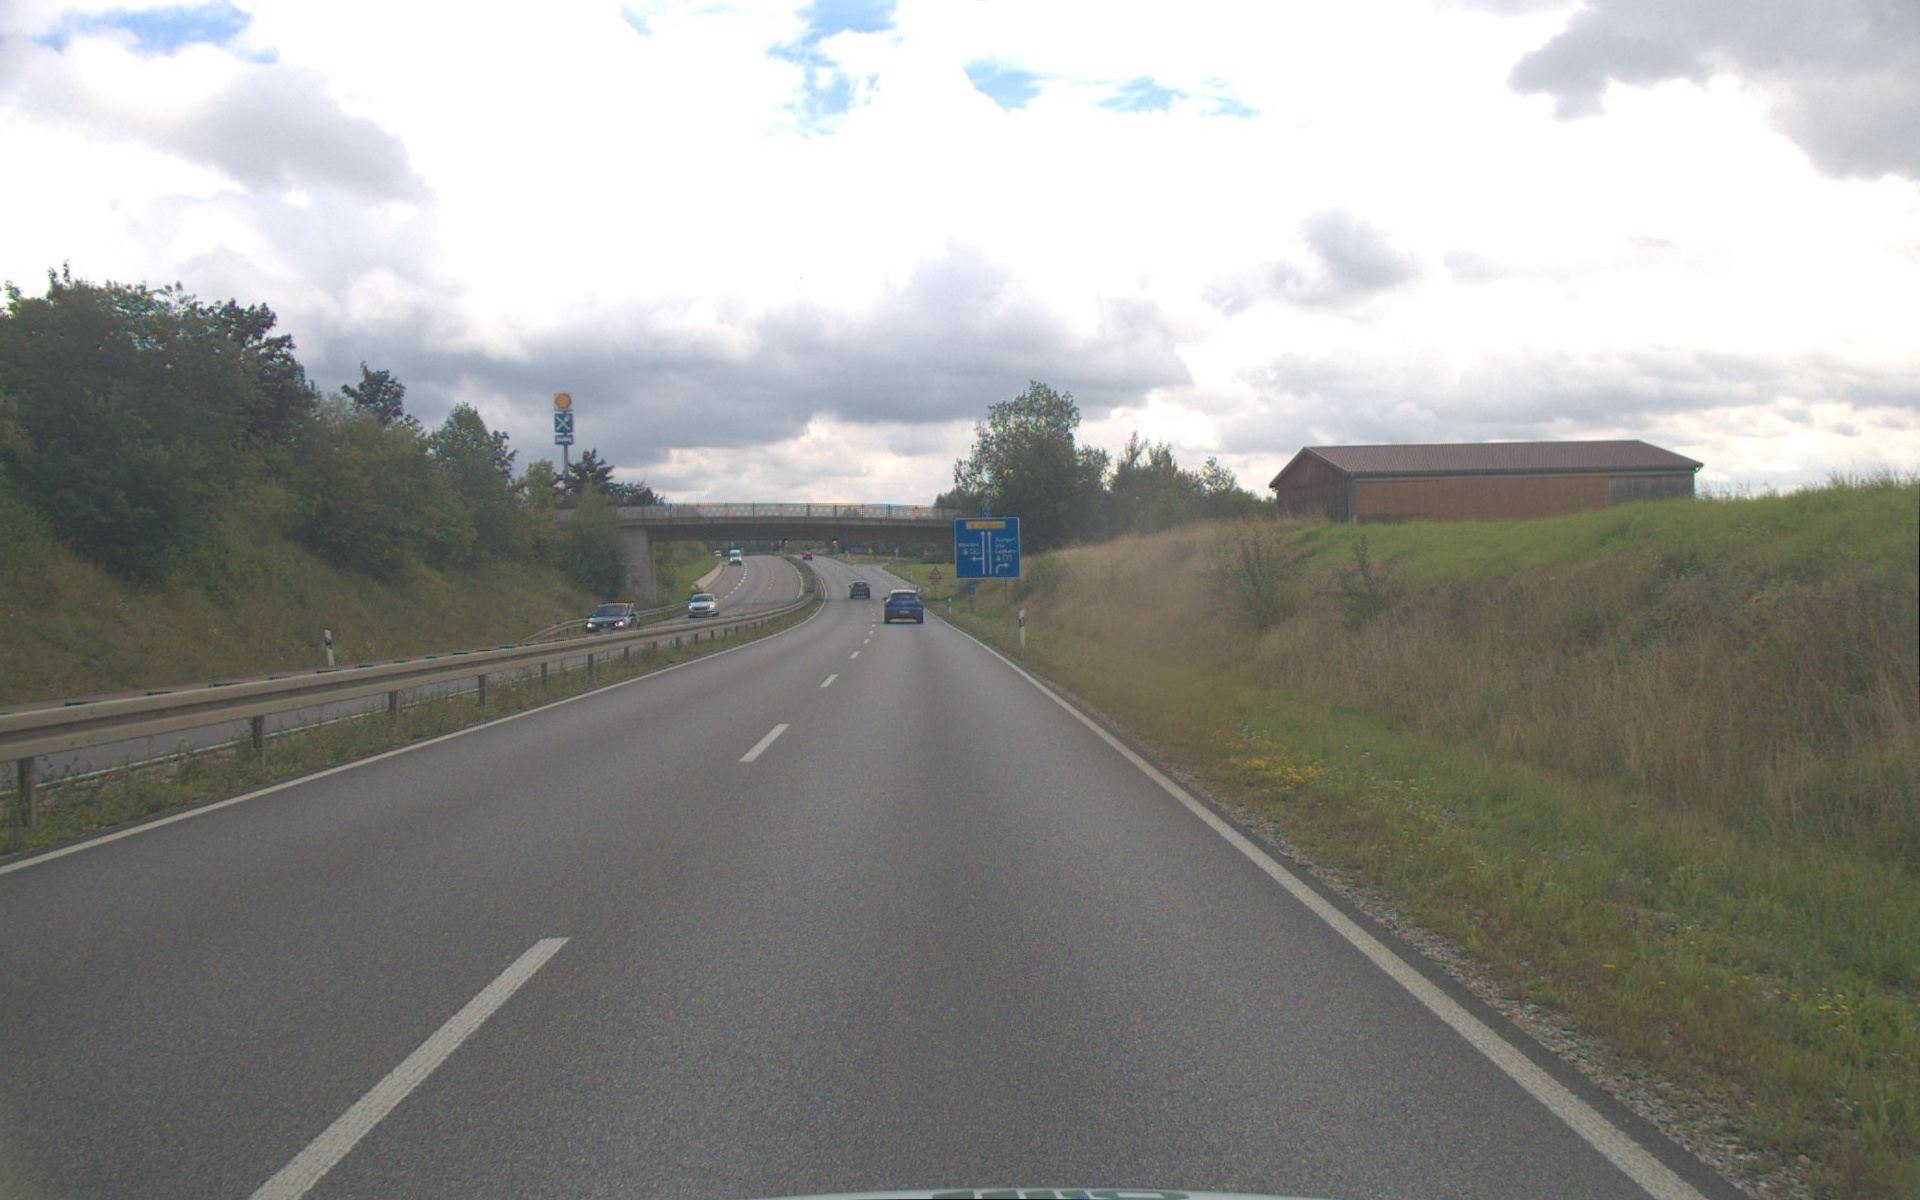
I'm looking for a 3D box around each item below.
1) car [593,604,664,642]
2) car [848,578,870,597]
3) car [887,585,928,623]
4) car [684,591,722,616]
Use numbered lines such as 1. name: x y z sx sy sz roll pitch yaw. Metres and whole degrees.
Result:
1. car: -13.229 0.889 66.316 1.953 1.327 4.821 -1 1 -1
2. car: -8.737 -1.089 142.947 1.879 1.478 4.361 -1 1 -4
3. car: -2.609 0.176 81.750 1.992 1.689 4.542 0 2 -3
4. car: -16.706 0.195 107.735 1.953 1.478 3.999 -1 1 -2
